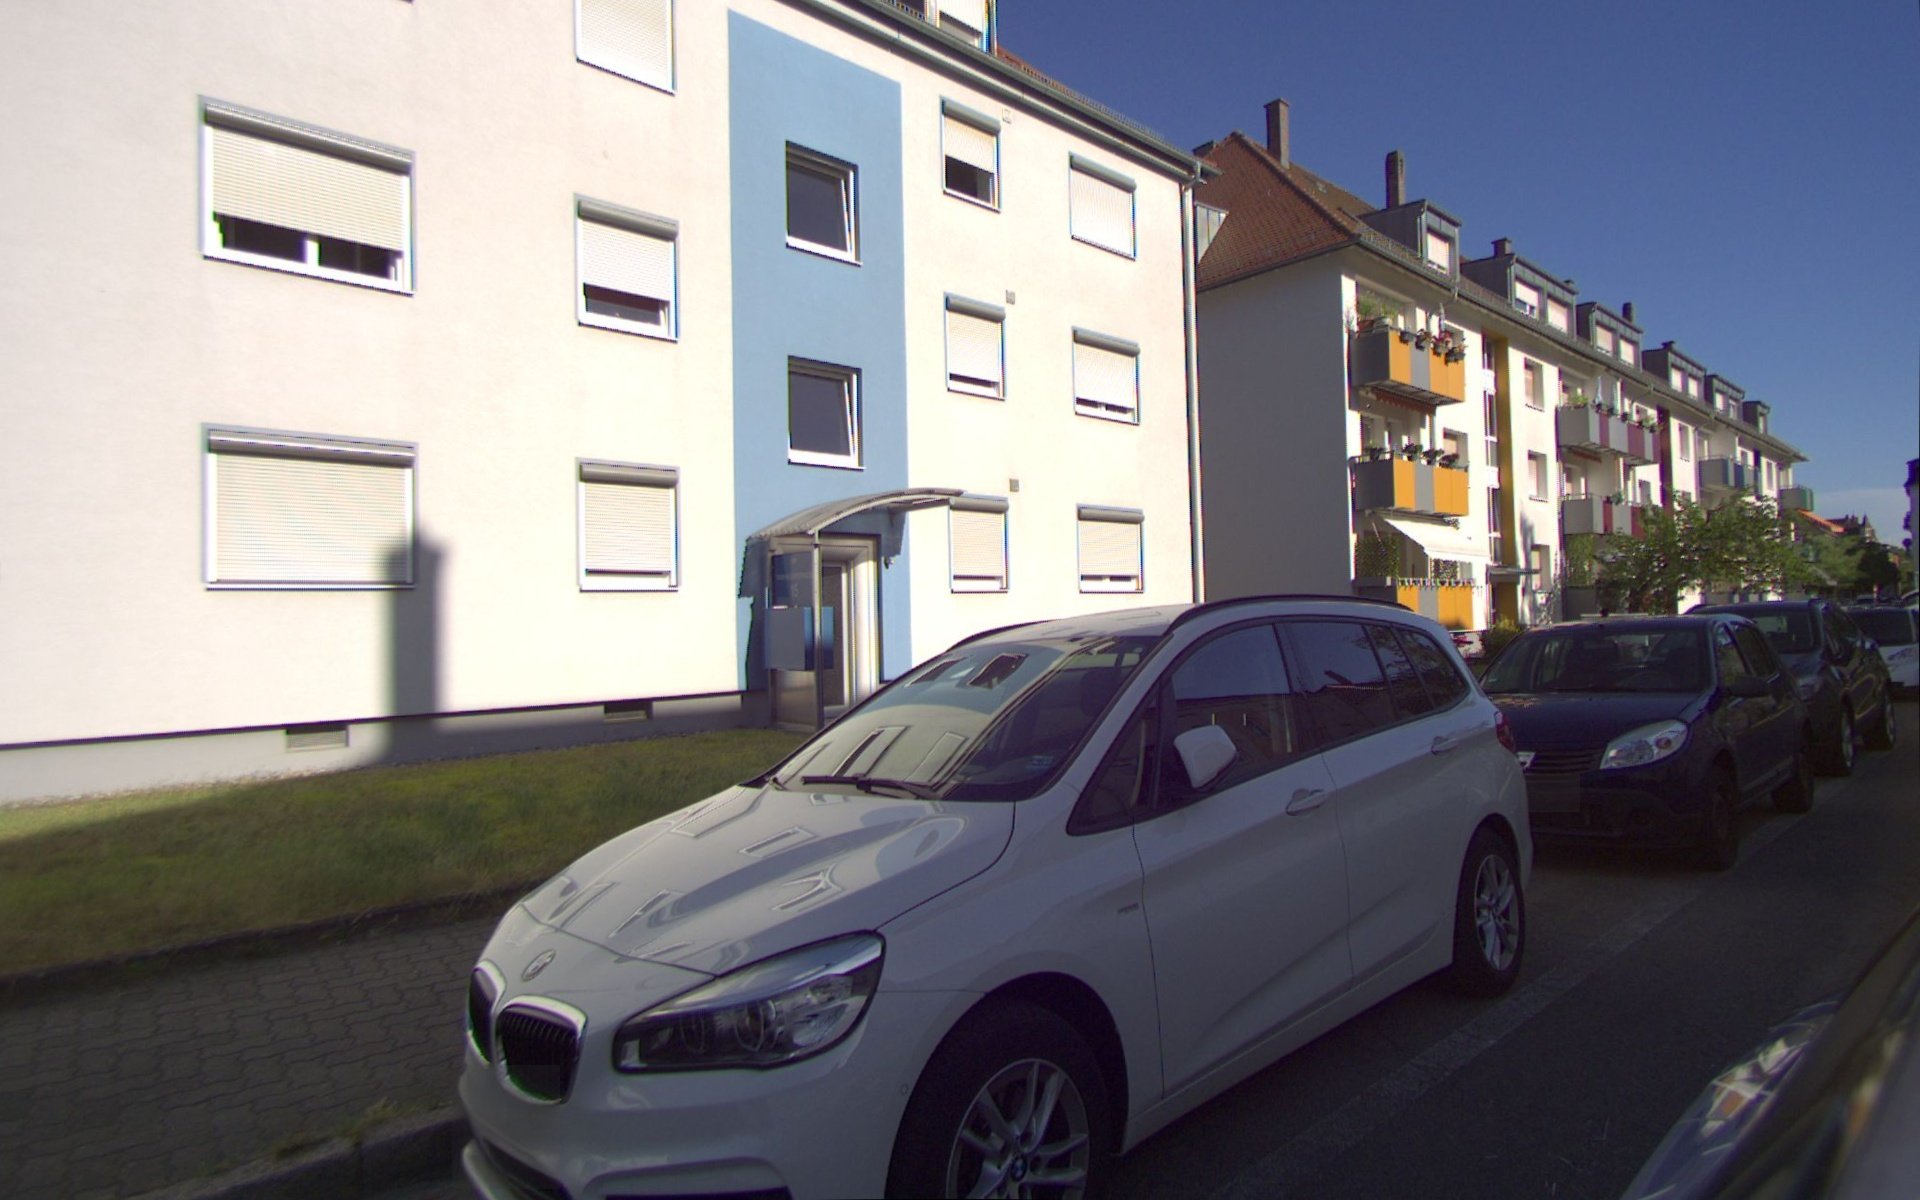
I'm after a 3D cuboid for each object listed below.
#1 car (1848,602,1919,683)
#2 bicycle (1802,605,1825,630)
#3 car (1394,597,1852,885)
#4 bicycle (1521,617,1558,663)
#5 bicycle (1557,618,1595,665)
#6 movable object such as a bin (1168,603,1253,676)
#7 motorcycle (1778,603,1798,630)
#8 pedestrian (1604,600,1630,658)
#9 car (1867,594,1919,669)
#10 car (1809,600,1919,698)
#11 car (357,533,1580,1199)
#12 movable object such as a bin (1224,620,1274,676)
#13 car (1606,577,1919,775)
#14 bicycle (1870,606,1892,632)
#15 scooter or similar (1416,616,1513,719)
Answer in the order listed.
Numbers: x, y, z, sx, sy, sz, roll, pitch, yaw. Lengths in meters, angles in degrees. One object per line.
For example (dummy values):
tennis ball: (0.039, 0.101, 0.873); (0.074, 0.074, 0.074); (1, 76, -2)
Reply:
car: (19.180, 0.799, 20.181); (3.916, 1.511, 1.695); (0, -4, -42)
bicycle: (40.613, 0.828, 48.145); (1.841, 1.130, 0.597); (0, -1, -42)
car: (4.929, 0.760, 7.298); (4.083, 1.518, 1.644); (0, -2, -40)
bicycle: (14.756, 1.007, 25.764); (1.250, 1.147, 0.403); (0, -2, -41)
bicycle: (15.178, 1.004, 24.934); (1.276, 1.100, 0.404); (0, -1, -41)
movable object such as a bin: (5.225, 0.799, 21.140); (1.087, 1.424, 1.330); (-3, 1, -40)
motorcycle: (40.097, 0.781, 49.023); (1.942, 1.254, 0.442); (0, -1, -41)
pedestrian: (17.569, 0.771, 27.067); (0.354, 1.514, 0.451); (-2, 0, -40)
car: (23.087, 0.681, 23.664); (4.905, 1.634, 1.997); (0, -3, -39)
car: (16.031, 0.802, 17.408); (2.886, 1.549, 1.483); (0, -4, -37)
car: (0.514, 0.739, 3.617); (4.359, 1.595, 1.692); (0, -3, -42)
movable object such as a bin: (5.811, 0.959, 20.323); (0.744, 1.047, 0.644); (-3, 1, -40)
car: (8.633, 0.686, 10.674); (4.389, 1.670, 1.786); (0, -3, -40)
bicycle: (42.119, 0.868, 46.274); (1.841, 1.147, 0.578); (0, 0, -42)
scooter or similar: (6.236, 0.801, 12.470); (1.561, 1.163, 0.484); (0, 1, -41)
